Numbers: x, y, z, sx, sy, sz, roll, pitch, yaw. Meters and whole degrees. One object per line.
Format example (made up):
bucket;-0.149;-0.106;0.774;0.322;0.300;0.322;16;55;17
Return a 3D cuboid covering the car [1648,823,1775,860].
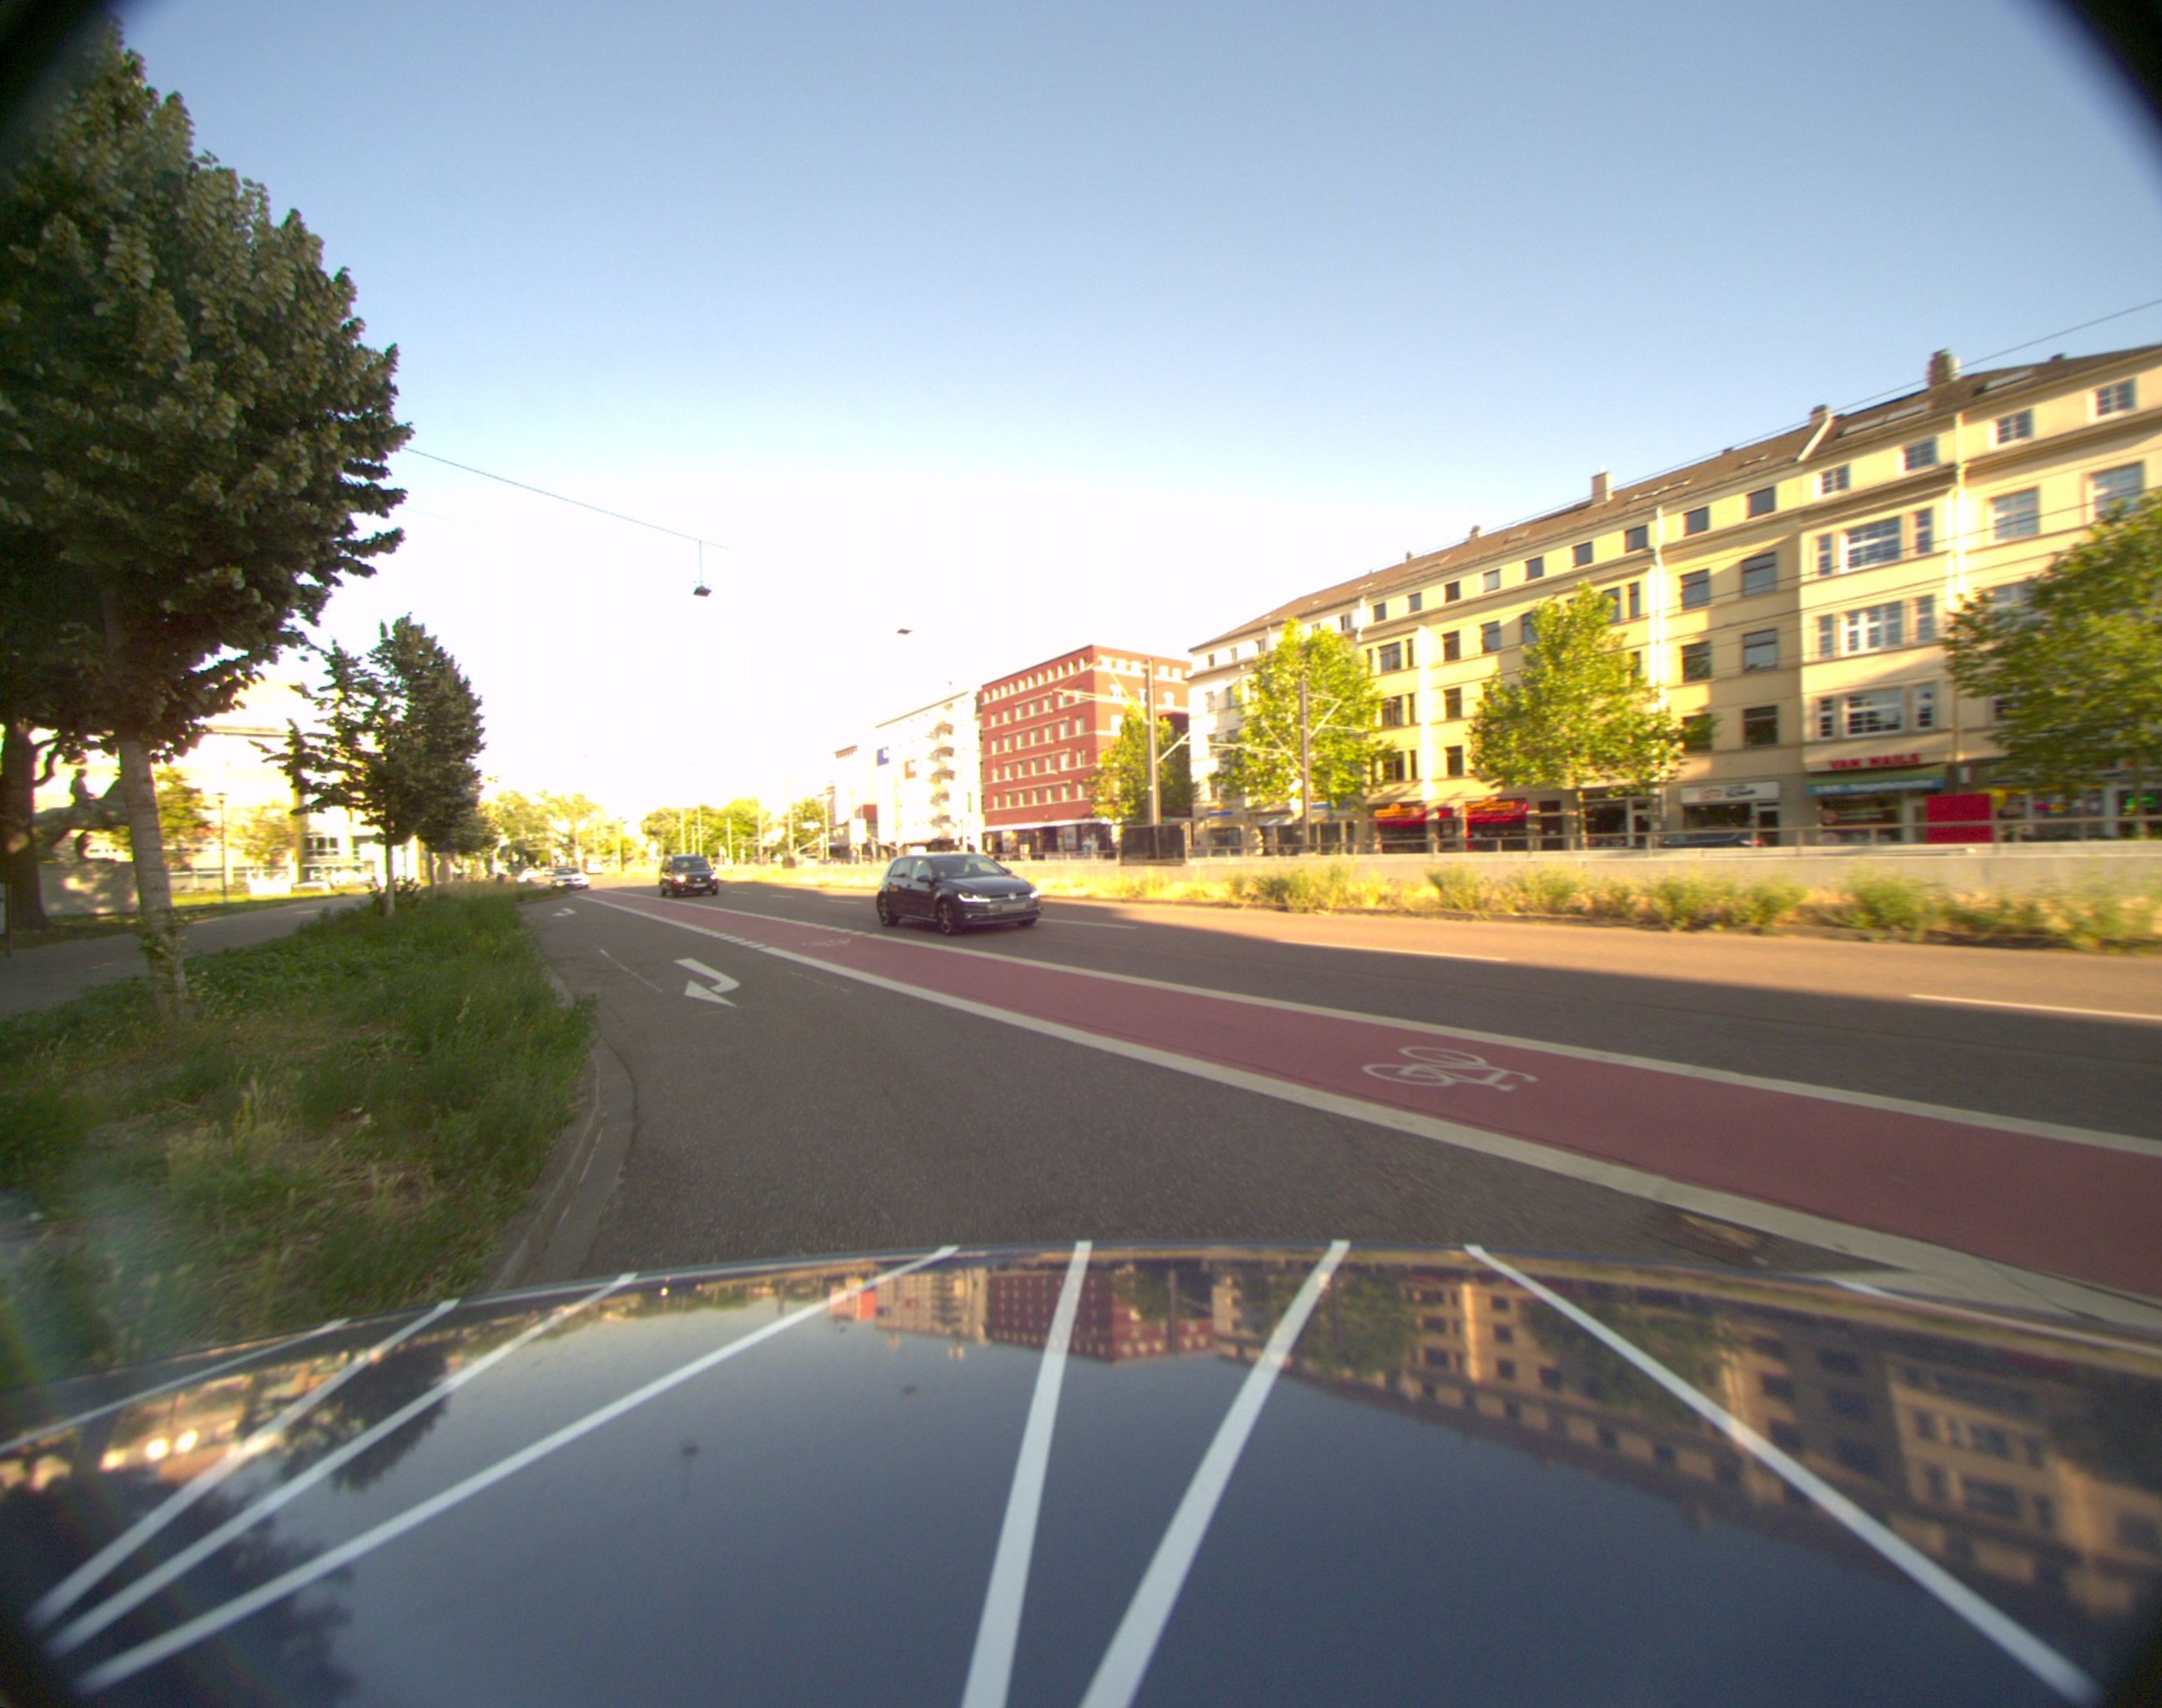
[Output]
car;25.344;-0.495;30.637;1.461;1.325;3.700;-5;3;-36

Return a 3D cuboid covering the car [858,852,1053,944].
car;-2.556;0.762;14.615;1.774;1.418;4.234;-4;1;-39

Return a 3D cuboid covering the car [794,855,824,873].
car;-33.433;1.211;93.286;2.003;2.002;4.762;-3;1;-38

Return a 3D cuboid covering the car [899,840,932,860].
car;-19.188;-0.420;87.990;1.962;2.121;4.561;-2;1;-37

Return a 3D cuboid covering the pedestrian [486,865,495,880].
pedestrian;-67.716;2.137;87.149;0.653;1.714;0.713;-3;1;-35

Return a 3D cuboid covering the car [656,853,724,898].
car;-16.798;0.882;32.573;1.774;1.722;4.136;-3;1;-38

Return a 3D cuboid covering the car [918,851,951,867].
car;-17.381;0.588;90.023;2.003;1.787;4.730;-3;1;-36

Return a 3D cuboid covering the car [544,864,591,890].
car;-34.005;1.511;50.295;1.838;1.529;4.267;-6;3;-42

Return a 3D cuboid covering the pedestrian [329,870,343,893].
pedestrian;-54.472;2.023;55.546;0.600;1.679;0.780;-1;0;-34

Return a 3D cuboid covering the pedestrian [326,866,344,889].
pedestrian;-53.737;1.675;54.762;0.742;1.640;0.913;0;-1;-34

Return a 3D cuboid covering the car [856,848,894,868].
car;-20.565;0.398;75.629;2.003;1.808;4.966;-2;1;-35

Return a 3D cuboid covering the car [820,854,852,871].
car;-27.931;0.929;86.412;2.003;1.787;4.882;-3;1;-36
